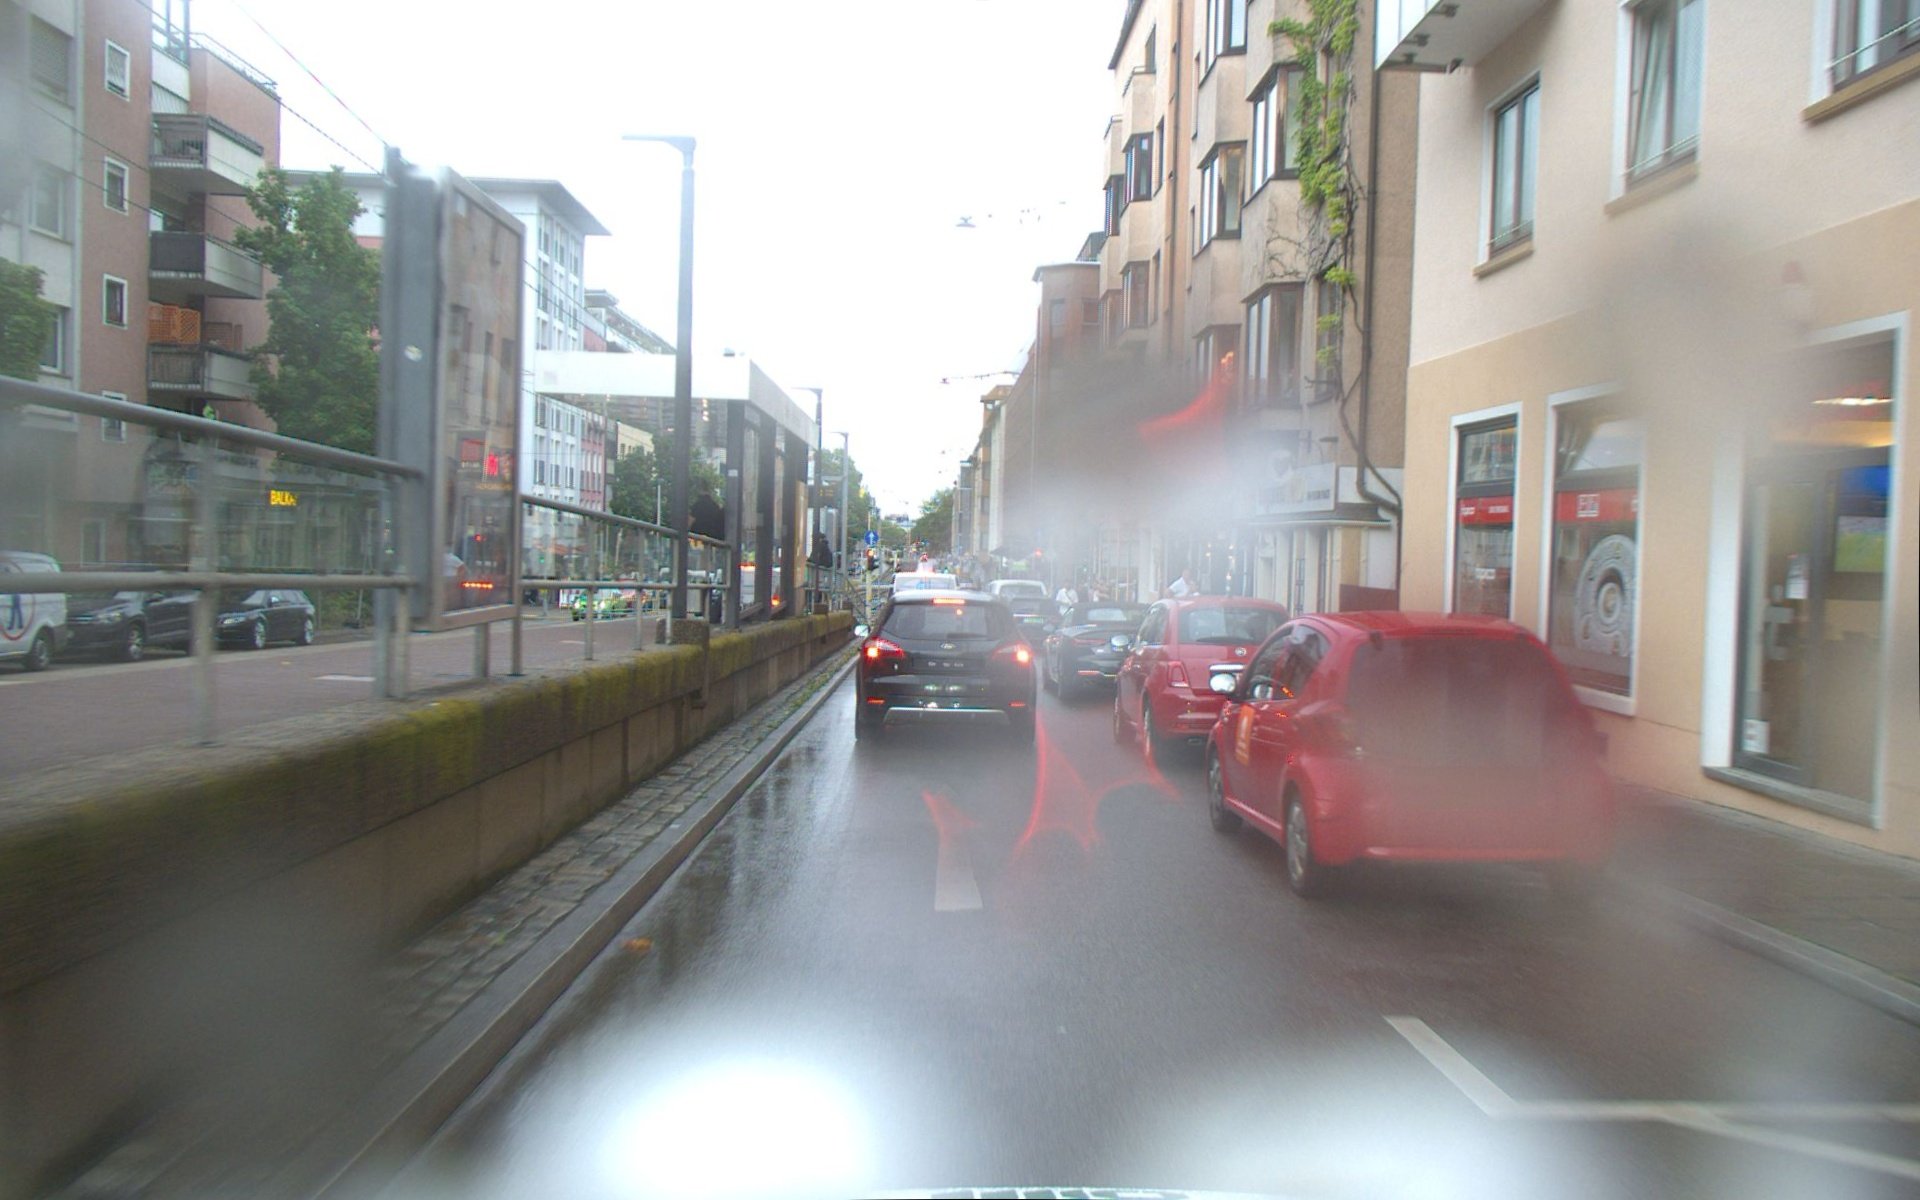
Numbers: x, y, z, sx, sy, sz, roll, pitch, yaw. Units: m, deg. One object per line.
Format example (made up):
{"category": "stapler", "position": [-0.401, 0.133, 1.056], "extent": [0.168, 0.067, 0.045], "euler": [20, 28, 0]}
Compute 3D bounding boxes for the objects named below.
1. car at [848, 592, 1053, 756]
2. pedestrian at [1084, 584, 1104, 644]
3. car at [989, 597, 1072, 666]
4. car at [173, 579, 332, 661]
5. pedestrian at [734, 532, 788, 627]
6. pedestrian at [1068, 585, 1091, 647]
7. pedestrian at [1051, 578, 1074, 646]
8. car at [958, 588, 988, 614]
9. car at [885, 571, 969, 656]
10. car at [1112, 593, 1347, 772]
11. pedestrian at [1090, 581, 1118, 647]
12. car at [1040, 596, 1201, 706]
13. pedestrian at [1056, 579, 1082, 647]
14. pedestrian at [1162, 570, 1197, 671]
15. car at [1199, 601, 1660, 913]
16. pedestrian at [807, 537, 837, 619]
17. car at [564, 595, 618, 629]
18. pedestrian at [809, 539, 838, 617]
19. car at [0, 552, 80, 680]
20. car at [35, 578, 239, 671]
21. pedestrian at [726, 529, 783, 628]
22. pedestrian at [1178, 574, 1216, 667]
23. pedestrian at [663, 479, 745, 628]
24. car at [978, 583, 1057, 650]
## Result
{"category": "car", "position": [-0.109, 0.685, 17.007], "extent": [1.868, 1.488, 3.444], "euler": [1, 0, -1]}
{"category": "pedestrian", "position": [3.933, 0.413, 48.565], "extent": [0.564, 1.744, 0.477], "euler": [0, 0, 0]}
{"category": "car", "position": [1.766, 0.769, 42.624], "extent": [1.868, 1.644, 4.413], "euler": [1, 0, -1]}
{"category": "car", "position": [-15.218, 0.412, 35.823], "extent": [1.605, 1.652, 4.370], "euler": [1, 0, -1]}
{"category": "pedestrian", "position": [-2.802, -0.286, 23.353], "extent": [0.713, 1.325, 0.700], "euler": [0, 0, -4]}
{"category": "pedestrian", "position": [3.411, 0.448, 47.181], "extent": [0.598, 1.744, 0.581], "euler": [0, 0, 0]}
{"category": "pedestrian", "position": [3.005, 0.347, 48.376], "extent": [0.638, 1.982, 0.533], "euler": [0, 0, 0]}
{"category": "car", "position": [0.754, 0.056, 97.434], "extent": [1.664, 1.505, 3.867], "euler": [-1, 0, 0]}
{"category": "car", "position": [-0.769, 0.298, 39.640], "extent": [1.868, 1.897, 4.573], "euler": [1, 0, -1]}
{"category": "car", "position": [2.432, 0.697, 15.649], "extent": [1.612, 1.488, 3.413], "euler": [1, 0, -1]}
{"category": "pedestrian", "position": [4.068, 0.392, 46.733], "extent": [0.740, 1.851, 0.588], "euler": [0, 0, 0]}
{"category": "car", "position": [2.319, 0.700, 24.943], "extent": [1.868, 1.488, 4.244], "euler": [1, 0, -2]}
{"category": "pedestrian", "position": [3.078, 0.370, 46.556], "extent": [0.681, 1.887, 0.652], "euler": [0, 0, 0]}
{"category": "pedestrian", "position": [4.140, 0.392, 31.262], "extent": [0.519, 1.891, 0.555], "euler": [0, 0, -9]}
{"category": "car", "position": [2.528, 0.761, 9.738], "extent": [1.681, 1.488, 3.444], "euler": [1, 0, -1]}
{"category": "pedestrian", "position": [-2.782, -0.442, 33.332], "extent": [0.572, 1.637, 0.700], "euler": [0, 0, -4]}
{"category": "car", "position": [-15.299, 0.497, 68.657], "extent": [1.606, 1.361, 3.732], "euler": [1, 0, -4]}
{"category": "pedestrian", "position": [-2.797, -0.442, 34.039], "extent": [0.572, 1.585, 0.700], "euler": [0, 0, -4]}
{"category": "car", "position": [-14.997, 0.219, 24.120], "extent": [1.870, 1.877, 5.252], "euler": [1, 0, -5]}
{"category": "car", "position": [-15.073, 0.421, 30.562], "extent": [1.605, 1.563, 4.370], "euler": [1, 0, -1]}
{"category": "pedestrian", "position": [-2.765, -0.285, 22.359], "extent": [0.713, 1.325, 0.700], "euler": [0, 0, -4]}
{"category": "pedestrian", "position": [4.382, 0.375, 30.592], "extent": [0.534, 1.710, 0.594], "euler": [0, 0, -9]}
{"category": "pedestrian", "position": [-3.067, -0.550, 19.880], "extent": [0.898, 1.754, 0.700], "euler": [0, 0, -4]}
{"category": "car", "position": [1.627, 0.457, 48.489], "extent": [1.868, 1.838, 4.774], "euler": [1, 0, -3]}
